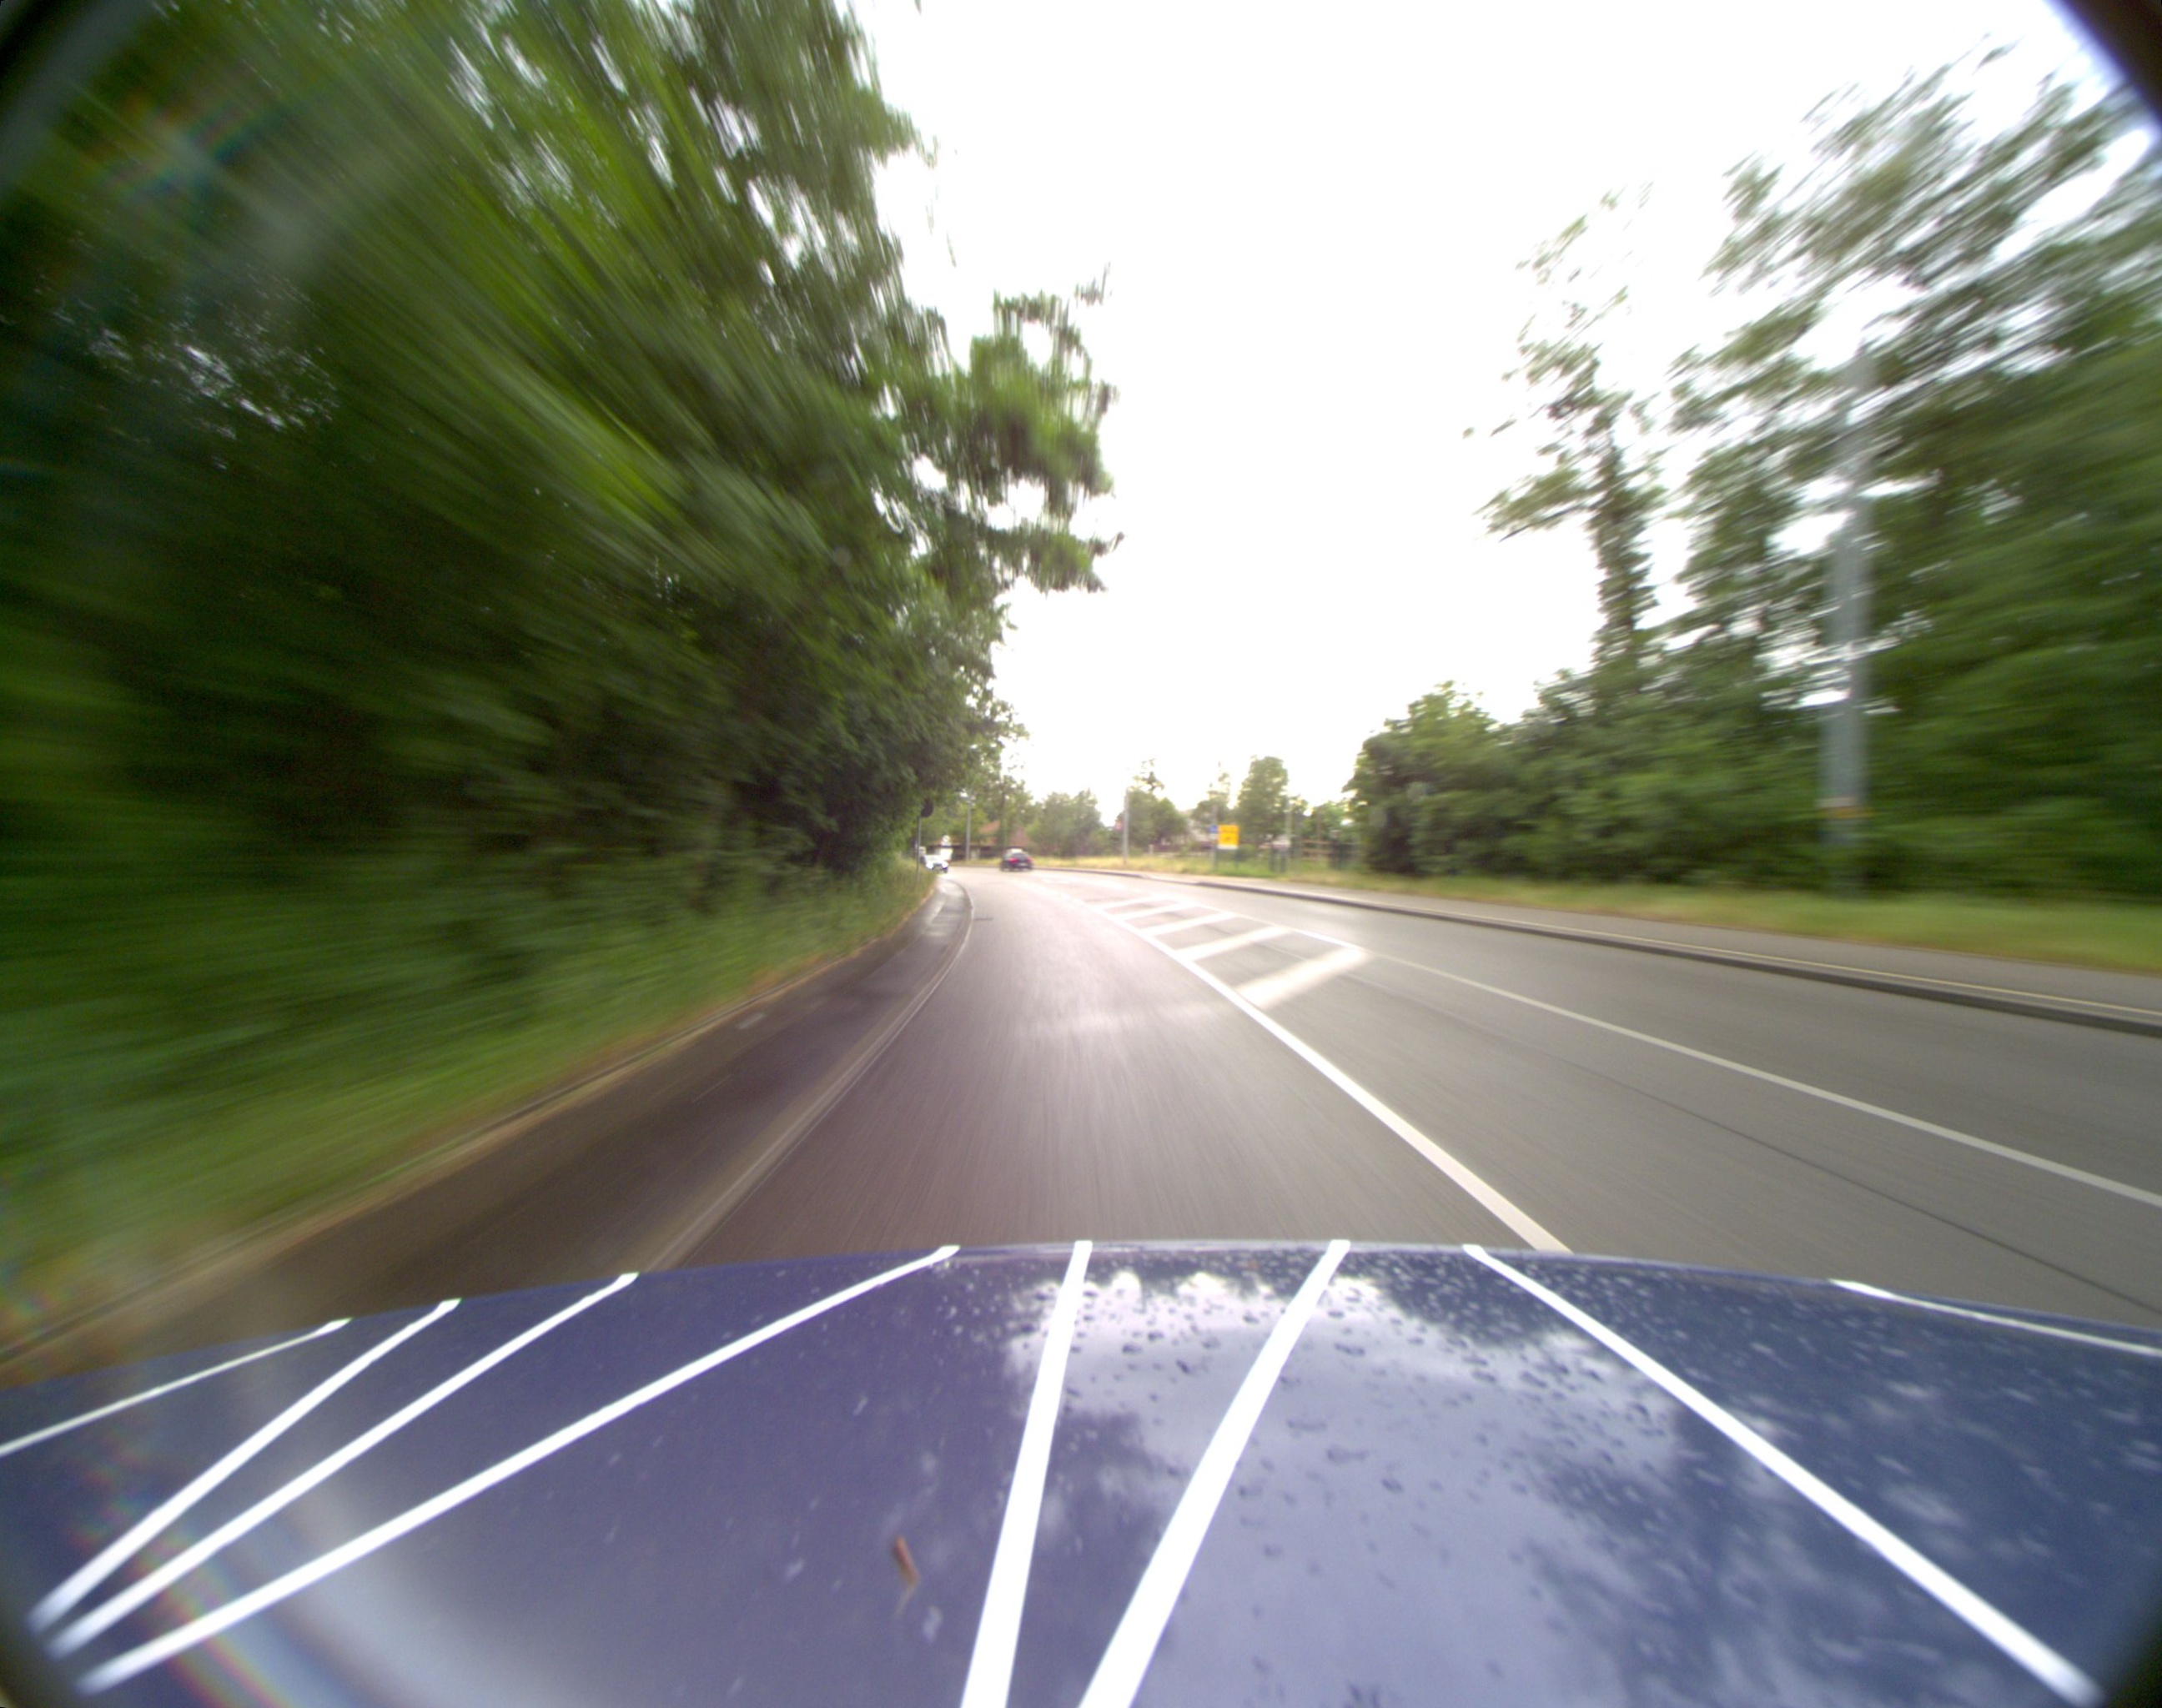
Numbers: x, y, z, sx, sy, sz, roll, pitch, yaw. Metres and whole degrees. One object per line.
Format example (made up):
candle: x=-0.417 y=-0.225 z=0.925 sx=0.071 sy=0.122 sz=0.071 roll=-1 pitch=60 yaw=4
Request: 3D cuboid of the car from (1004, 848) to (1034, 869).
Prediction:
car: x=-4.748 y=0.336 z=58.035 sx=1.600 sy=1.469 sz=3.787 roll=-2 pitch=1 yaw=-15
